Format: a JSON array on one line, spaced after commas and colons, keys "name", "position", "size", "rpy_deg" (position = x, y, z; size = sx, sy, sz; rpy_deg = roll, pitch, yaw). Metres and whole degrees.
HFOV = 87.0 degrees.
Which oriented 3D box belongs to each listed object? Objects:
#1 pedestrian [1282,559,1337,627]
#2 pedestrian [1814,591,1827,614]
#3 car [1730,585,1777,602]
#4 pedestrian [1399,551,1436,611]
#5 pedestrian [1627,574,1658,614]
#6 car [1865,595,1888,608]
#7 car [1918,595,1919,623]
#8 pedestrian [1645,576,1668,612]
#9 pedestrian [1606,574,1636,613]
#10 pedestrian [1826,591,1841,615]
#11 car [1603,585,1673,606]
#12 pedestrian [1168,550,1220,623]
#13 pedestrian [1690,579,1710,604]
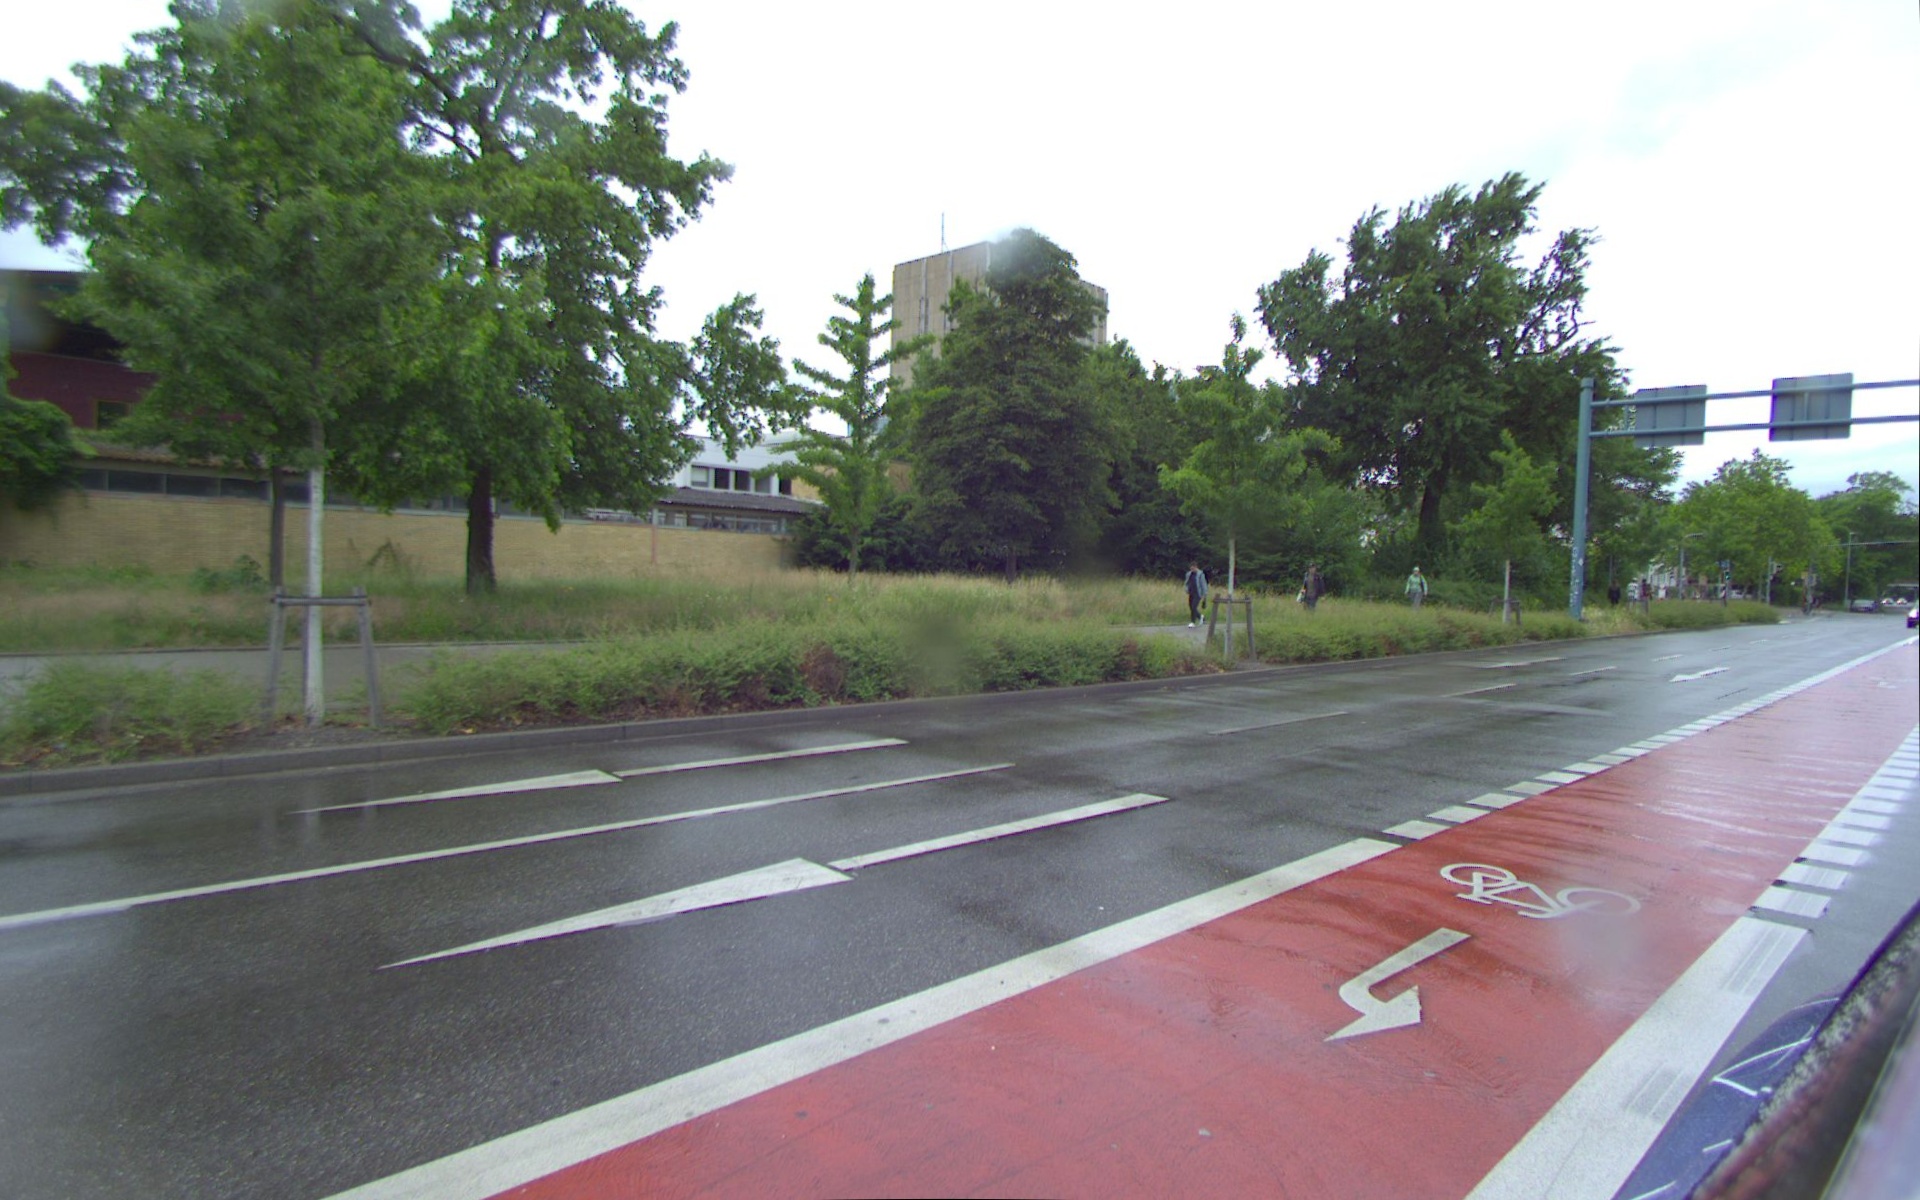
[{"name": "pedestrian", "position": [9.453, -0.203, 27.372], "size": [1.026, 1.769, 0.936], "rpy_deg": [1, 2, -38]}, {"name": "pedestrian", "position": [68.875, 0.187, 80.991], "size": [0.620, 1.847, 0.778], "rpy_deg": [3, 2, 31]}, {"name": "car", "position": [97.505, -0.843, 124.413], "size": [4.405, 1.895, 1.615], "rpy_deg": [4, 2, 39]}, {"name": "pedestrian", "position": [15.678, -0.648, 34.708], "size": [0.813, 2.038, 0.793], "rpy_deg": [1, 2, -38]}, {"name": "pedestrian", "position": [31.095, -0.276, 46.078], "size": [0.814, 1.743, 0.935], "rpy_deg": [4, -1, -39]}, {"name": "car", "position": [96.337, 0.128, 106.331], "size": [1.657, 1.282, 4.042], "rpy_deg": [4, 3, 44]}, {"name": "car", "position": [48.732, 0.463, 50.227], "size": [1.657, 1.381, 4.042], "rpy_deg": [4, 3, 44]}, {"name": "pedestrian", "position": [36.808, -0.328, 53.462], "size": [0.835, 1.882, 0.732], "rpy_deg": [1, 2, -38]}, {"name": "pedestrian", "position": [30.681, -0.303, 46.984], "size": [0.814, 1.725, 0.935], "rpy_deg": [4, -1, -39]}, {"name": "pedestrian", "position": [69.788, 0.213, 80.869], "size": [0.618, 1.847, 0.780], "rpy_deg": [3, 2, 24]}, {"name": "car", "position": [53.220, -0.383, 79.468], "size": [4.375, 1.353, 1.747], "rpy_deg": [4, 5, 43]}, {"name": "pedestrian", "position": [5.983, -0.347, 25.859], "size": [0.813, 1.819, 0.936], "rpy_deg": [1, 2, -37]}, {"name": "pedestrian", "position": [50.571, -0.595, 69.201], "size": [0.868, 1.627, 0.857], "rpy_deg": [3, 2, 24]}]
